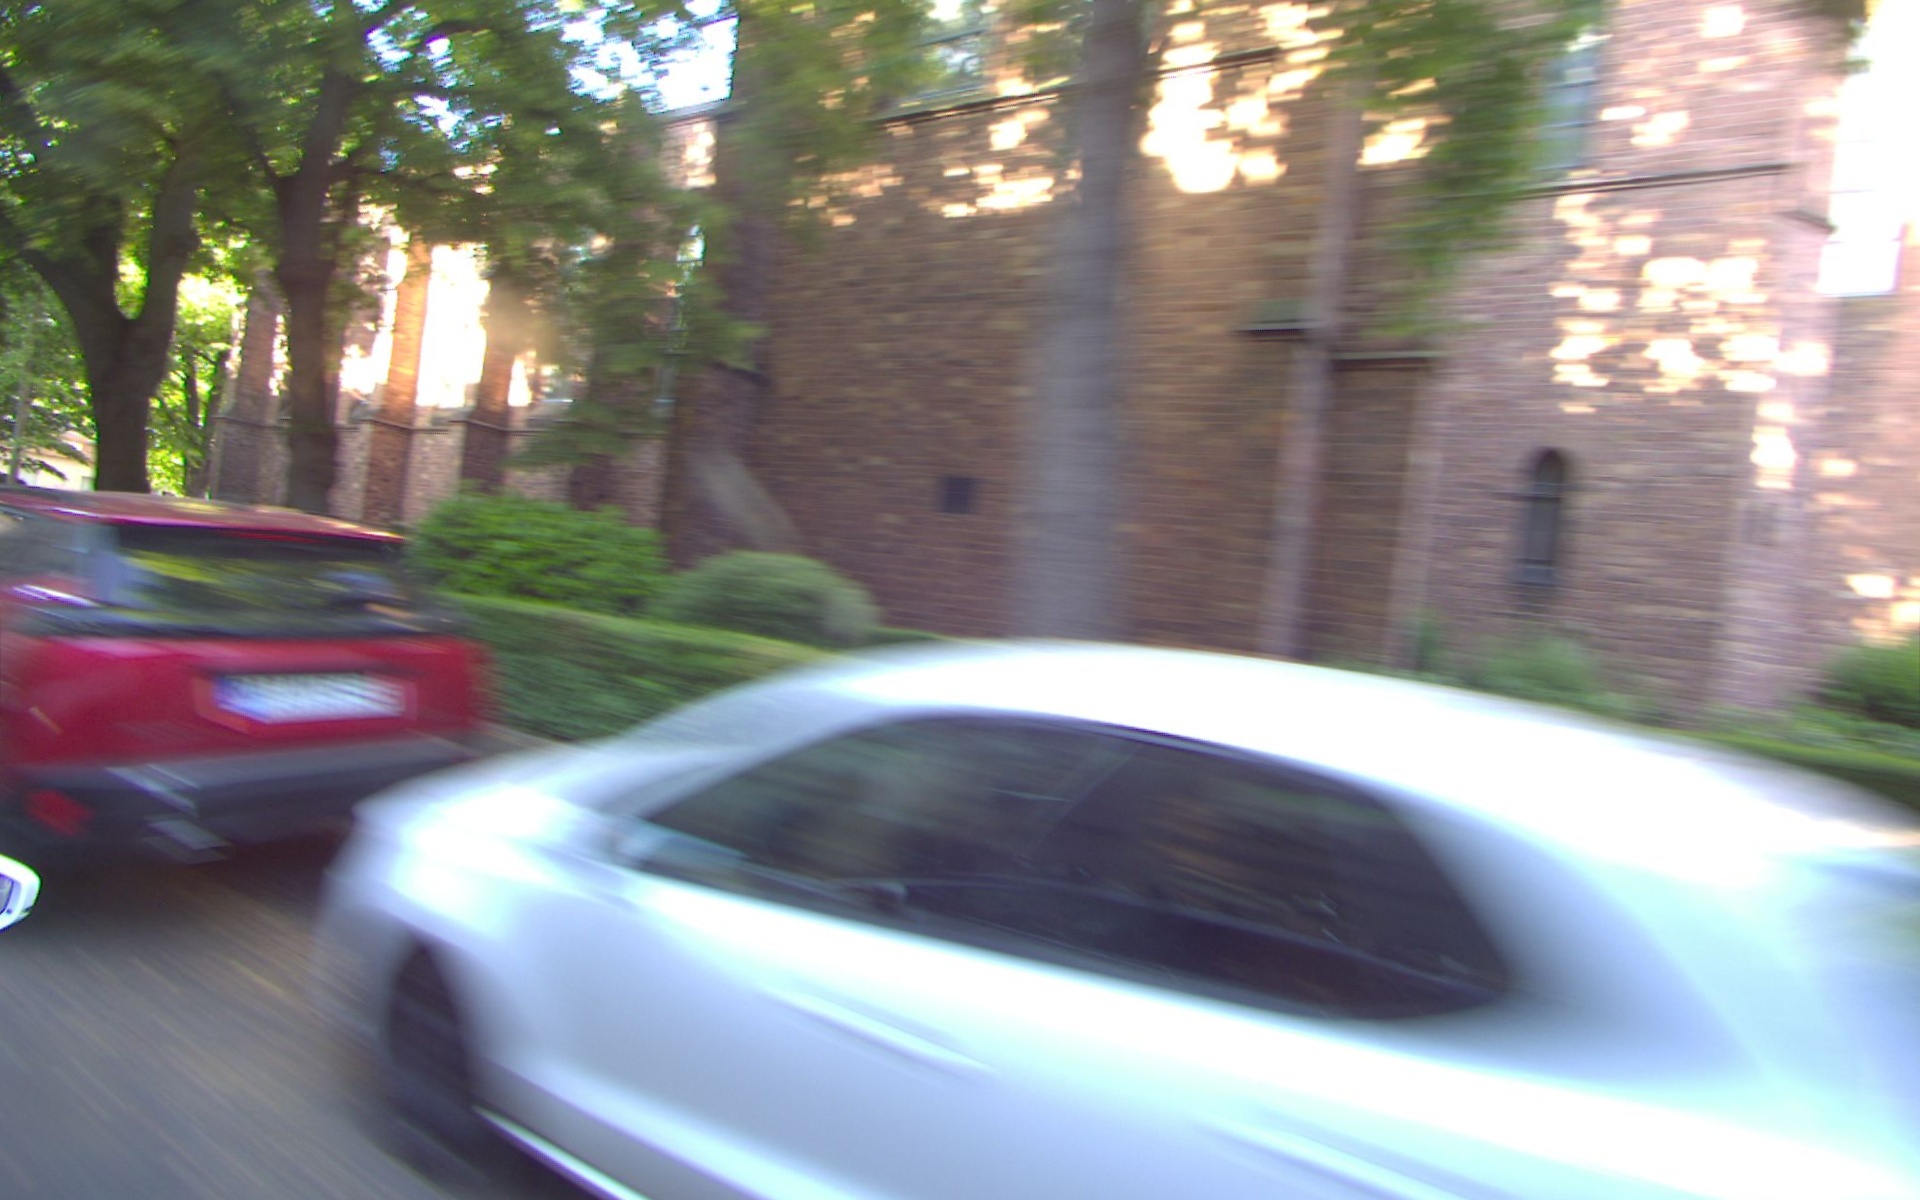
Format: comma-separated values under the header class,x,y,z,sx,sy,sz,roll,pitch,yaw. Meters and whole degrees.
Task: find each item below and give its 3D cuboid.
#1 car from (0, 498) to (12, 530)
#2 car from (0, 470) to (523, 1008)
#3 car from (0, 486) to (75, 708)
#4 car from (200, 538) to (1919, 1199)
class,x,y,z,sx,sy,sz,roll,pitch,yaw
car,-49.553,-4.527,49.540,1.610,1.489,3.855,4,-4,38
car,-4.049,0.261,4.778,4.034,1.608,1.662,6,3,34
car,-8.304,-0.171,7.496,3.659,1.526,1.598,6,3,32
car,-0.059,0.759,2.615,3.885,1.541,1.664,6,3,30
